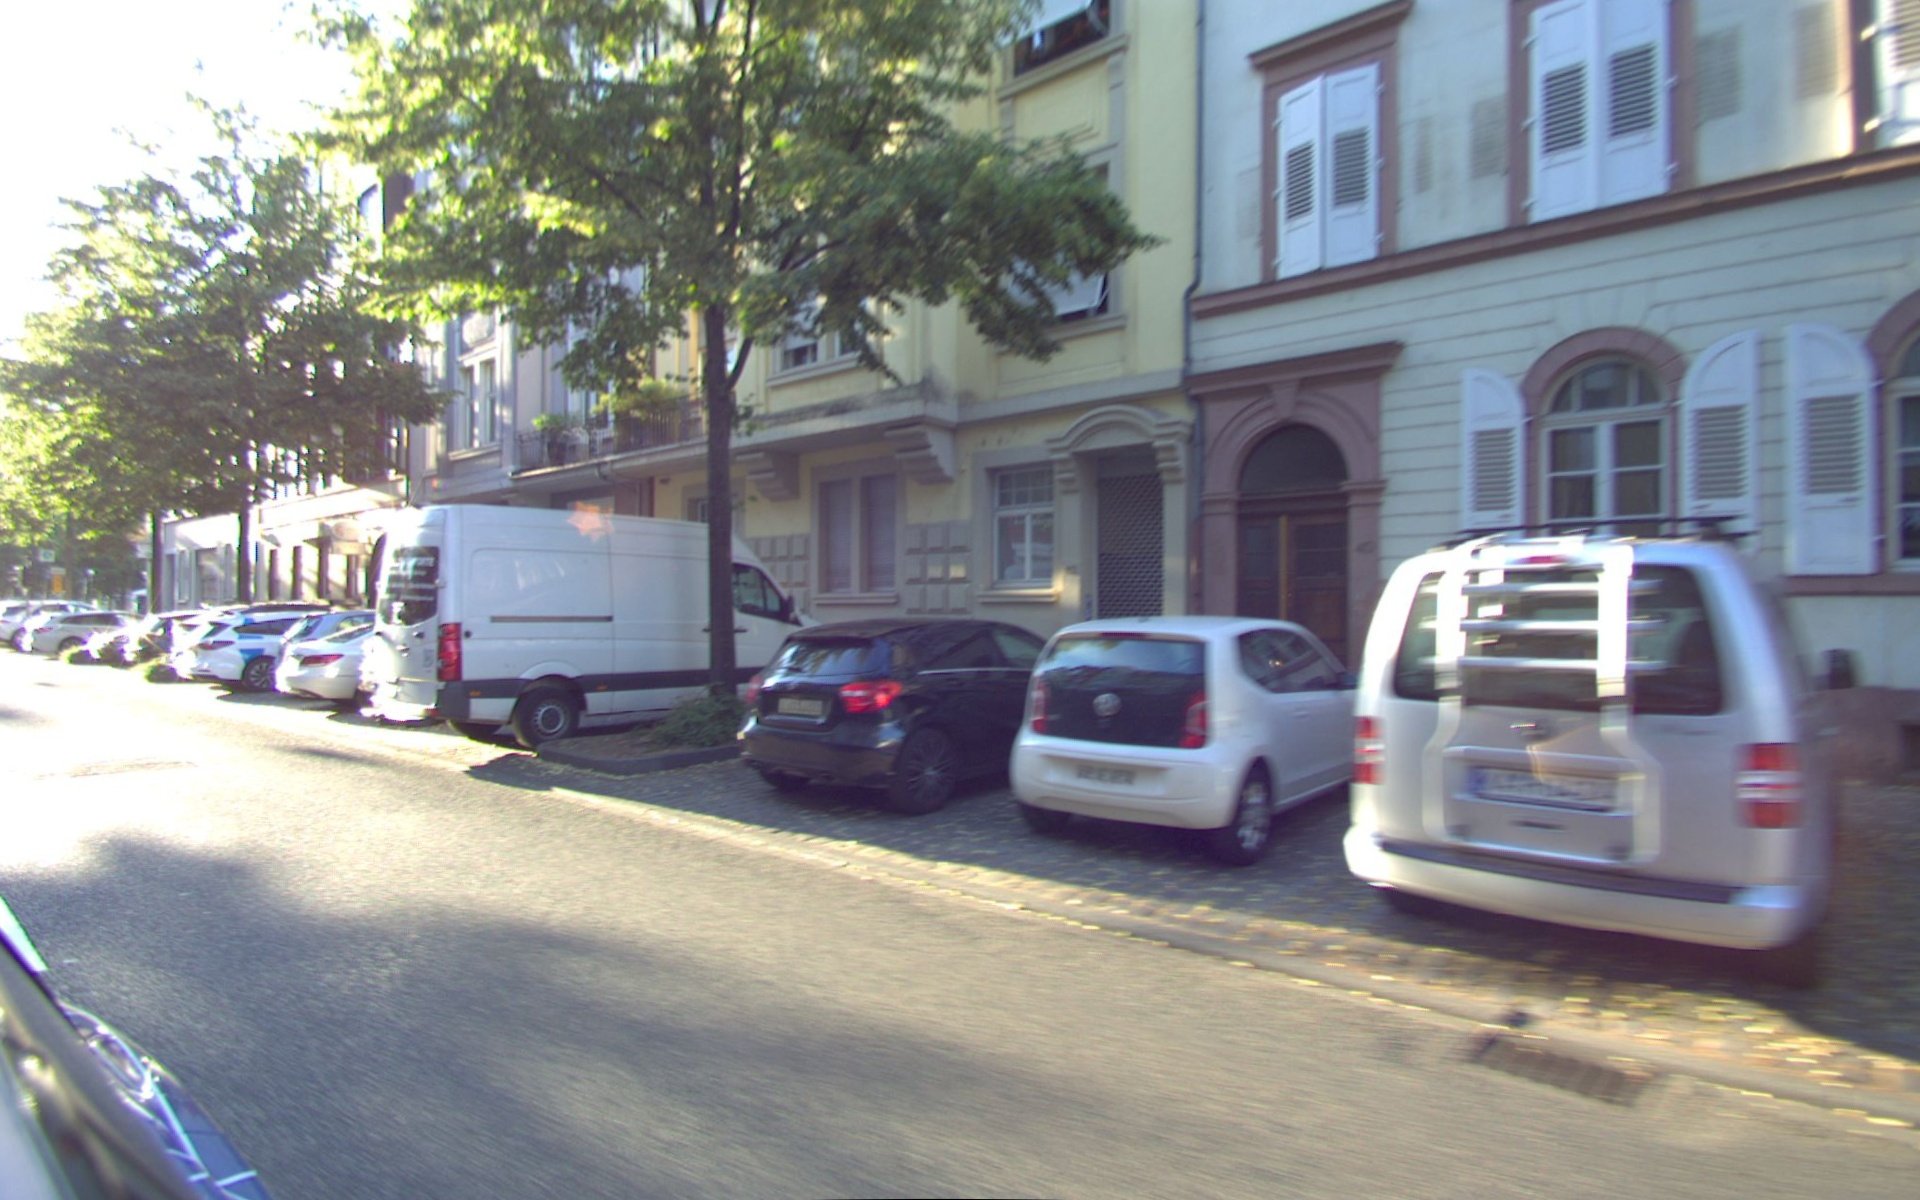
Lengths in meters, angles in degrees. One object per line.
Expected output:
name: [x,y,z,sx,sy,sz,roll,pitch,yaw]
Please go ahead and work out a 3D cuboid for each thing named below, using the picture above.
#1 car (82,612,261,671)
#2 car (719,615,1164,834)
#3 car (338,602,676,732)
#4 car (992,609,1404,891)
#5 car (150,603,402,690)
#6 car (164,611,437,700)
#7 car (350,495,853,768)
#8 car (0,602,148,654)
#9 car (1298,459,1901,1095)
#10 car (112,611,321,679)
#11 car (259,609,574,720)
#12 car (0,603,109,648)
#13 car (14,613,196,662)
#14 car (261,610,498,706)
car: [-22.162,1.113,28.528,1.789,1.459,3.744,-1,0,43]
car: [0.038,0.872,8.907,1.749,1.414,3.945,0,0,41]
car: [-6.605,0.871,15.088,1.975,1.612,4.168,-1,0,42]
car: [1.893,0.834,7.337,1.710,1.478,3.338,-1,0,37]
car: [-14.836,0.931,22.142,1.890,1.663,4.192,-1,0,36]
car: [-12.921,1.005,20.023,1.968,1.494,4.144,-1,0,40]
car: [-4.133,0.296,12.660,2.170,2.641,5.600,-1,0,41]
car: [-33.906,1.024,38.329,2.052,1.825,4.657,-1,0,41]
car: [3.702,0.574,5.441,1.918,1.968,4.451,-1,-1,43]
car: [-18.379,1.055,25.169,1.695,1.459,3.878,-1,0,38]
car: [-8.697,0.937,16.482,1.792,1.517,4.170,-1,0,40]
car: [-39.024,1.055,42.700,1.945,1.796,4.510,0,-1,40]
car: [-27.907,1.173,33.149,1.821,1.434,4.337,-1,0,40]
car: [-10.491,0.968,18.401,1.847,1.521,3.370,-1,0,44]
